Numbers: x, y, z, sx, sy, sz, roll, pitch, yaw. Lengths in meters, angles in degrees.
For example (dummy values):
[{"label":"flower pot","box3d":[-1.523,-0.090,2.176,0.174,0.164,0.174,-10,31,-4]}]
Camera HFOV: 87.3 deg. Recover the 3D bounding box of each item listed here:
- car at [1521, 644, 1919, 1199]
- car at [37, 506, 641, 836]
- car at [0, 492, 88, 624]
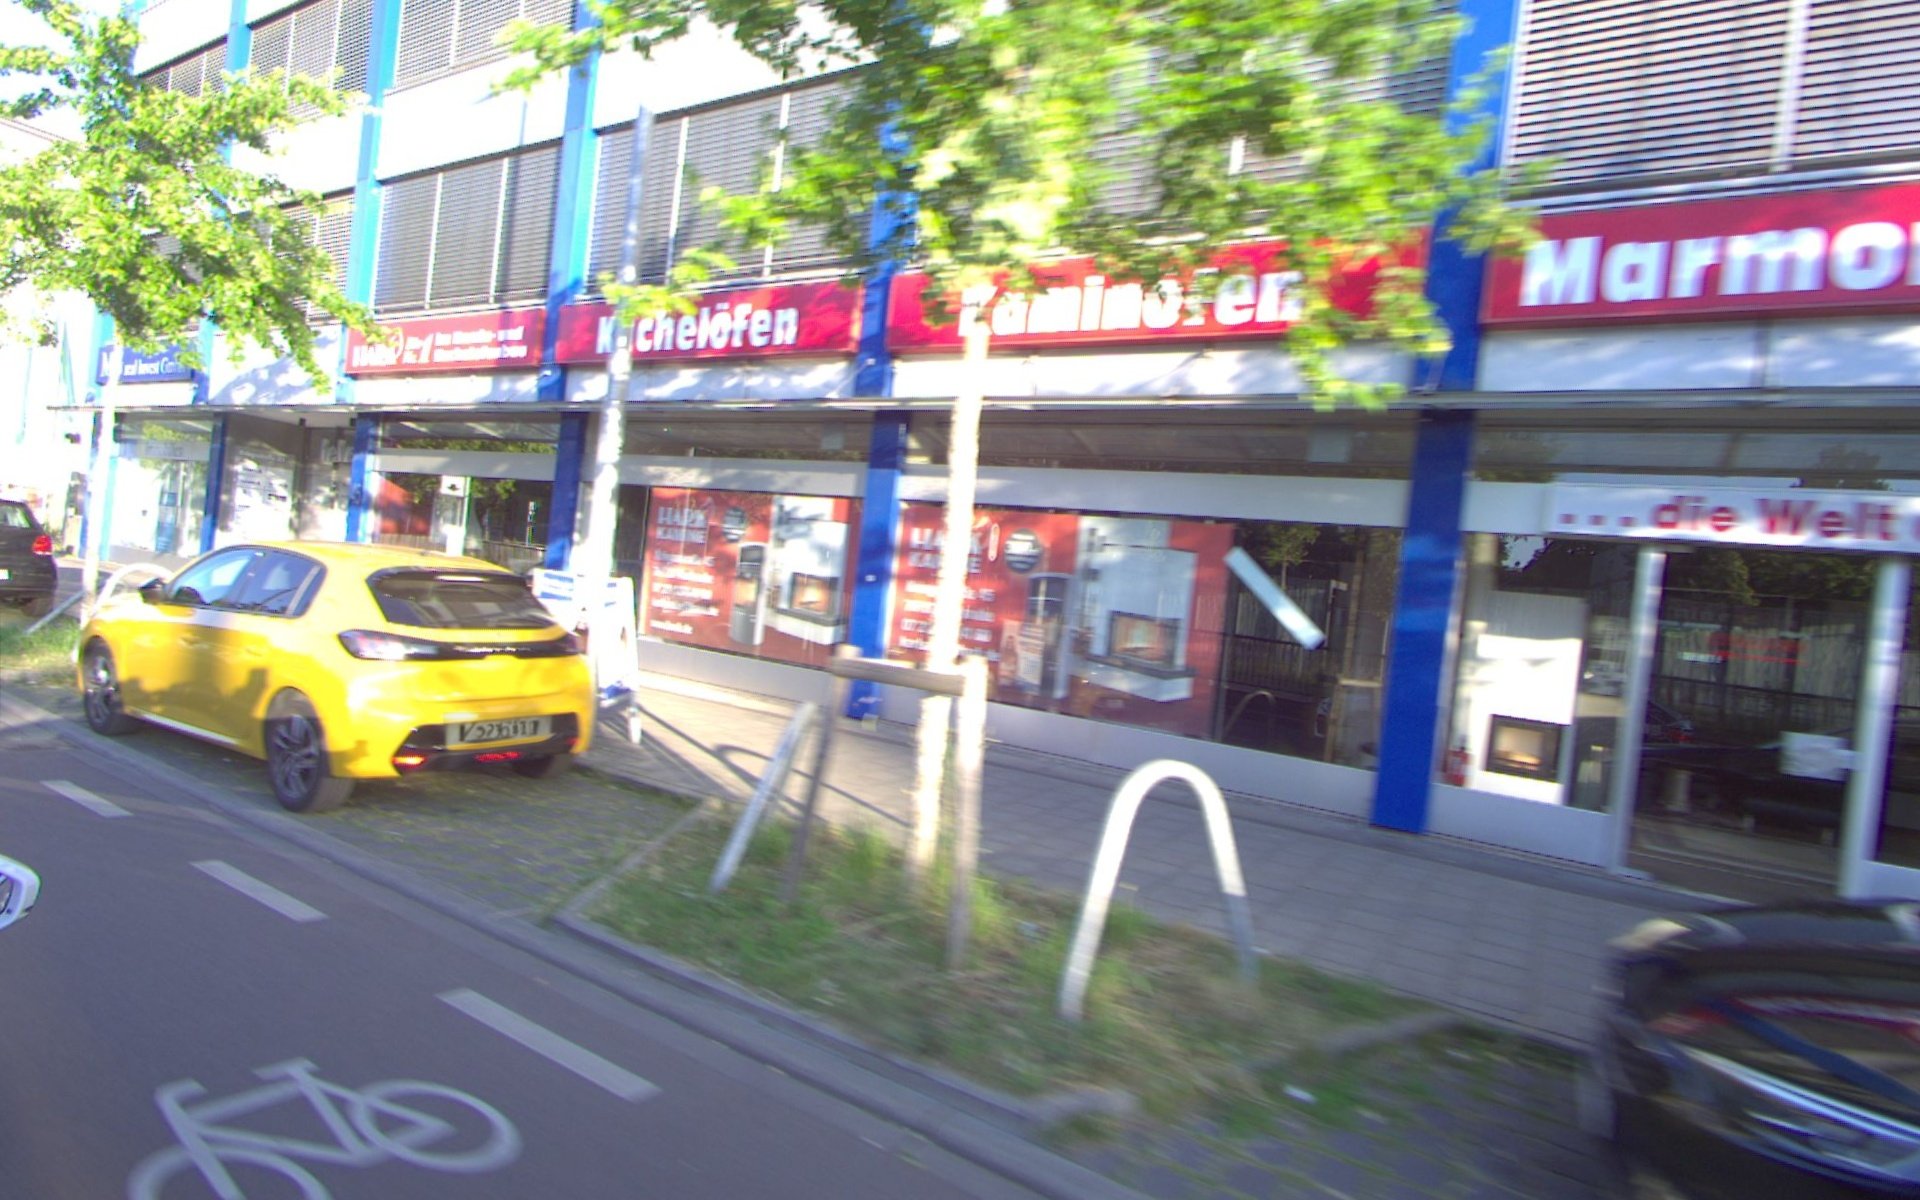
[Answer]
[{"label":"car","box3d":[3.813,1.180,1.838,4.729,1.588,1.819,6,4,30]},{"label":"car","box3d":[-4.290,0.306,6.797,4.060,1.473,1.685,6,1,30]},{"label":"car","box3d":[-12.664,-0.681,12.250,4.059,1.473,1.821,6,1,30]}]
